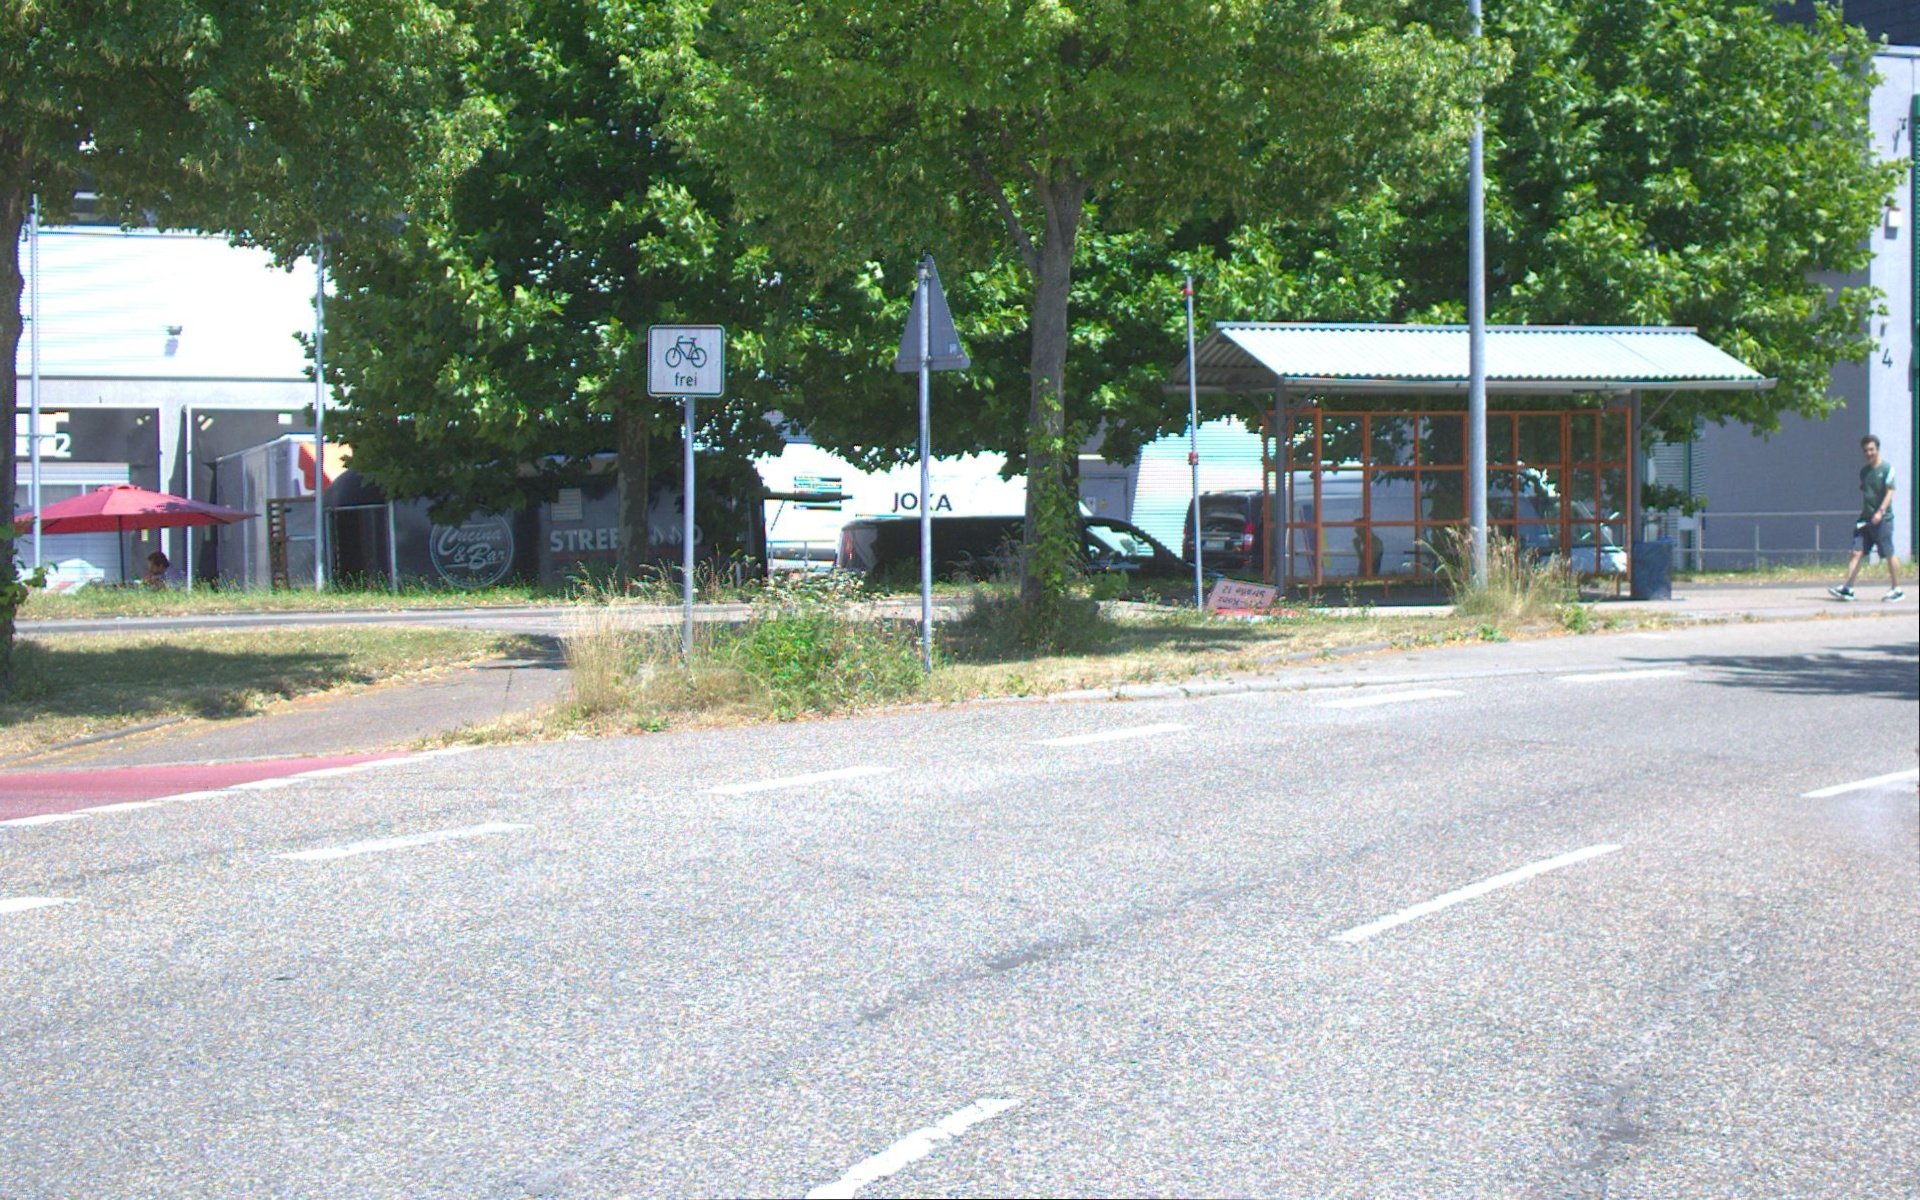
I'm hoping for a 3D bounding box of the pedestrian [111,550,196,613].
[{"bbox_3d":[-9.345,-0.215,39.823,0.864,0.693,0.408,-1,1,2],"label":"pedestrian"}]

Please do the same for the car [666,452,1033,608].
[{"bbox_3d":[-1.331,-0.854,41.279,3.986,1.722,1.841,-2,1,-20],"label":"car"}]

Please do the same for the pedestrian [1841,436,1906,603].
[{"bbox_3d":[9.274,-0.813,34.910,0.529,1.664,0.579,1,-1,6],"label":"pedestrian"}]

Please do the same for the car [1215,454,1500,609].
[{"bbox_3d":[5.454,-0.906,47.614,1.544,2.007,4.265,1,-1,-33],"label":"car"}]
